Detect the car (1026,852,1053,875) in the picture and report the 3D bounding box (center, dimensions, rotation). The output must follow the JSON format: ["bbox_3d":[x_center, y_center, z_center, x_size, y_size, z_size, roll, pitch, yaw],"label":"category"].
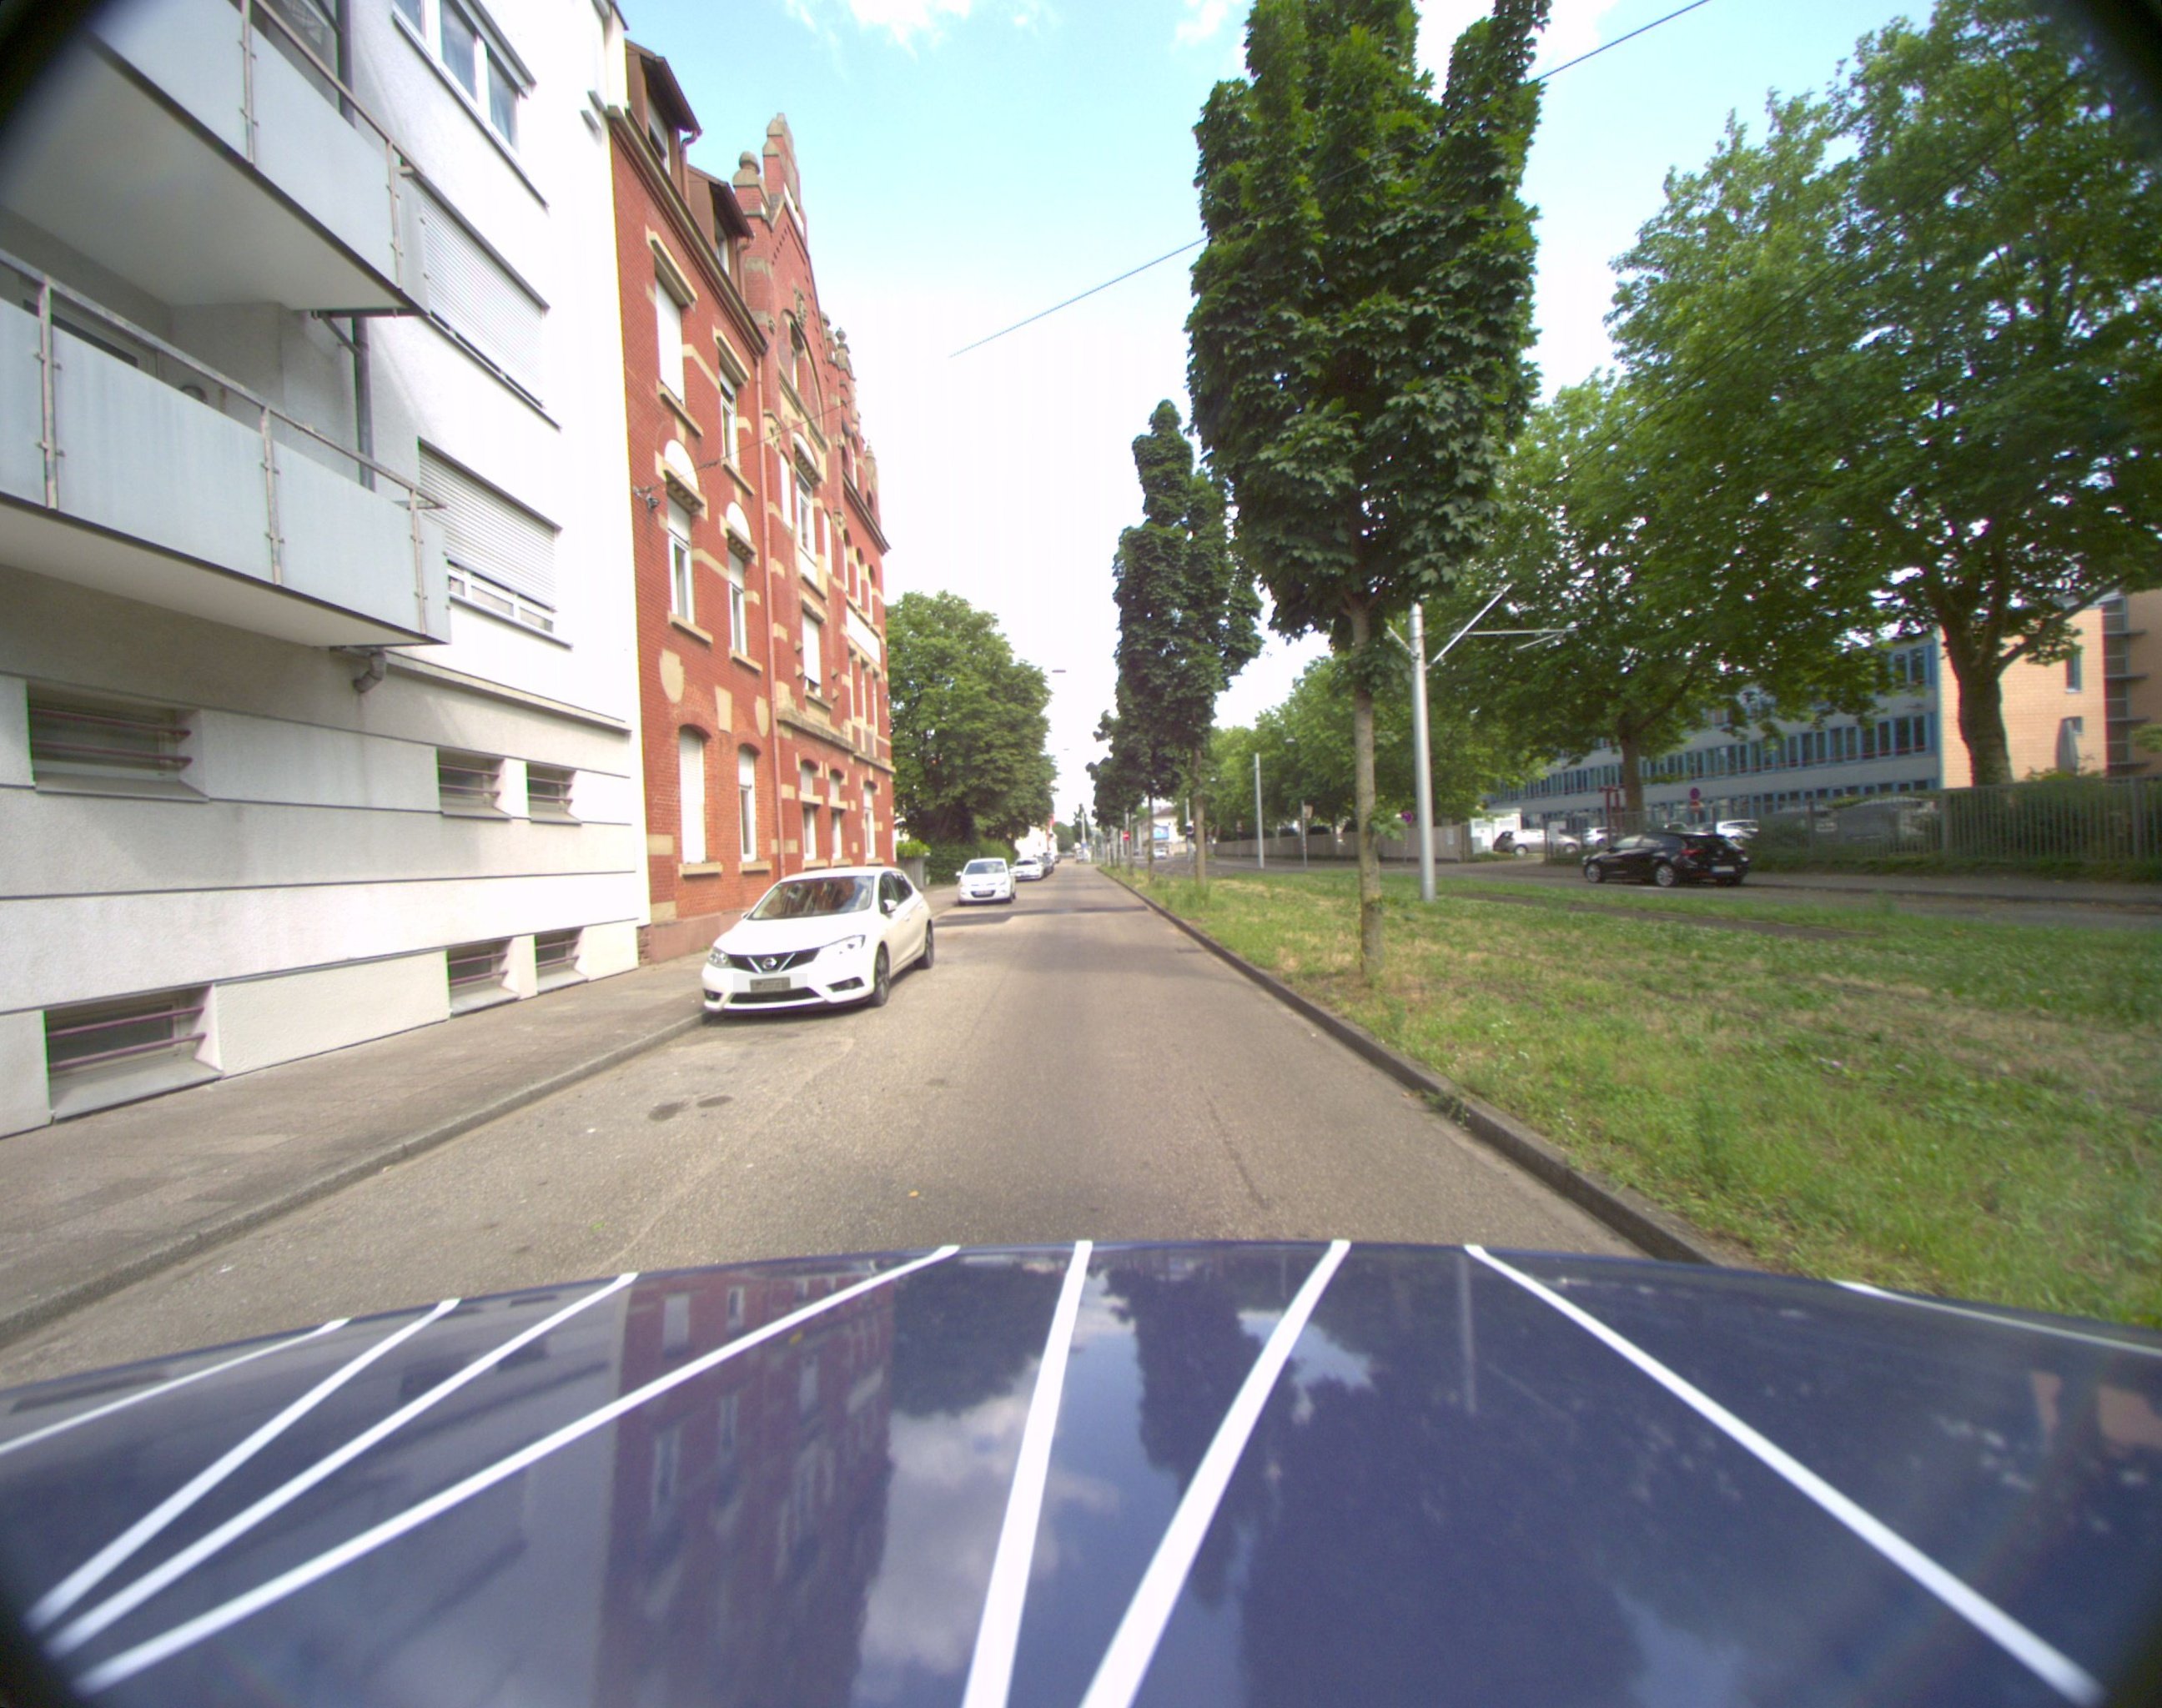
[{"bbox_3d":[-3.157,0.705,58.699,1.801,1.521,4.040,-5,1,0],"label":"car"}]

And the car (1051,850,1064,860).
[{"bbox_3d":[-3.759,0.124,122.339,1.801,1.521,4.040,-5,1,0],"label":"car"}]

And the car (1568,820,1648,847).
[{"bbox_3d":[35.419,-1.357,51.161,3.997,1.609,1.999,-2,1,-2],"label":"car"}]

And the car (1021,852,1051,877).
[{"bbox_3d":[-3.122,0.684,53.239,1.801,1.521,4.040,-5,1,0],"label":"car"}]

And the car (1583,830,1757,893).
[{"bbox_3d":[15.571,0.159,20.384,1.601,1.455,4.000,-3,1,2],"label":"car"}]

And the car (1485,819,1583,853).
[{"bbox_3d":[24.086,-0.940,40.482,3.997,1.609,1.999,-2,1,-2],"label":"car"}]

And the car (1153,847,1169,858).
[{"bbox_3d":[11.999,-0.259,113.936,1.801,1.521,4.040,-4,1,0],"label":"car"}]

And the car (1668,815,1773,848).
[{"bbox_3d":[34.595,-1.209,41.173,3.997,1.609,1.999,-2,1,-2],"label":"car"}]

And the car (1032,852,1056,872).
[{"bbox_3d":[-3.085,0.637,64.112,1.801,1.521,4.040,-5,1,0],"label":"car"}]

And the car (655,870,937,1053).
[{"bbox_3d":[-3.054,1.051,9.151,1.801,1.521,4.040,-3,0,0],"label":"car"}]

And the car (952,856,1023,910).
[{"bbox_3d":[-3.052,0.896,25.504,1.801,1.521,4.040,-4,1,0],"label":"car"}]

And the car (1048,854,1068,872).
[{"bbox_3d":[-2.274,0.879,76.943,1.801,1.521,4.040,-5,1,0],"label":"car"}]

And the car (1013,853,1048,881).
[{"bbox_3d":[-3.070,0.773,47.021,1.801,1.521,4.040,-5,1,0],"label":"car"}]
